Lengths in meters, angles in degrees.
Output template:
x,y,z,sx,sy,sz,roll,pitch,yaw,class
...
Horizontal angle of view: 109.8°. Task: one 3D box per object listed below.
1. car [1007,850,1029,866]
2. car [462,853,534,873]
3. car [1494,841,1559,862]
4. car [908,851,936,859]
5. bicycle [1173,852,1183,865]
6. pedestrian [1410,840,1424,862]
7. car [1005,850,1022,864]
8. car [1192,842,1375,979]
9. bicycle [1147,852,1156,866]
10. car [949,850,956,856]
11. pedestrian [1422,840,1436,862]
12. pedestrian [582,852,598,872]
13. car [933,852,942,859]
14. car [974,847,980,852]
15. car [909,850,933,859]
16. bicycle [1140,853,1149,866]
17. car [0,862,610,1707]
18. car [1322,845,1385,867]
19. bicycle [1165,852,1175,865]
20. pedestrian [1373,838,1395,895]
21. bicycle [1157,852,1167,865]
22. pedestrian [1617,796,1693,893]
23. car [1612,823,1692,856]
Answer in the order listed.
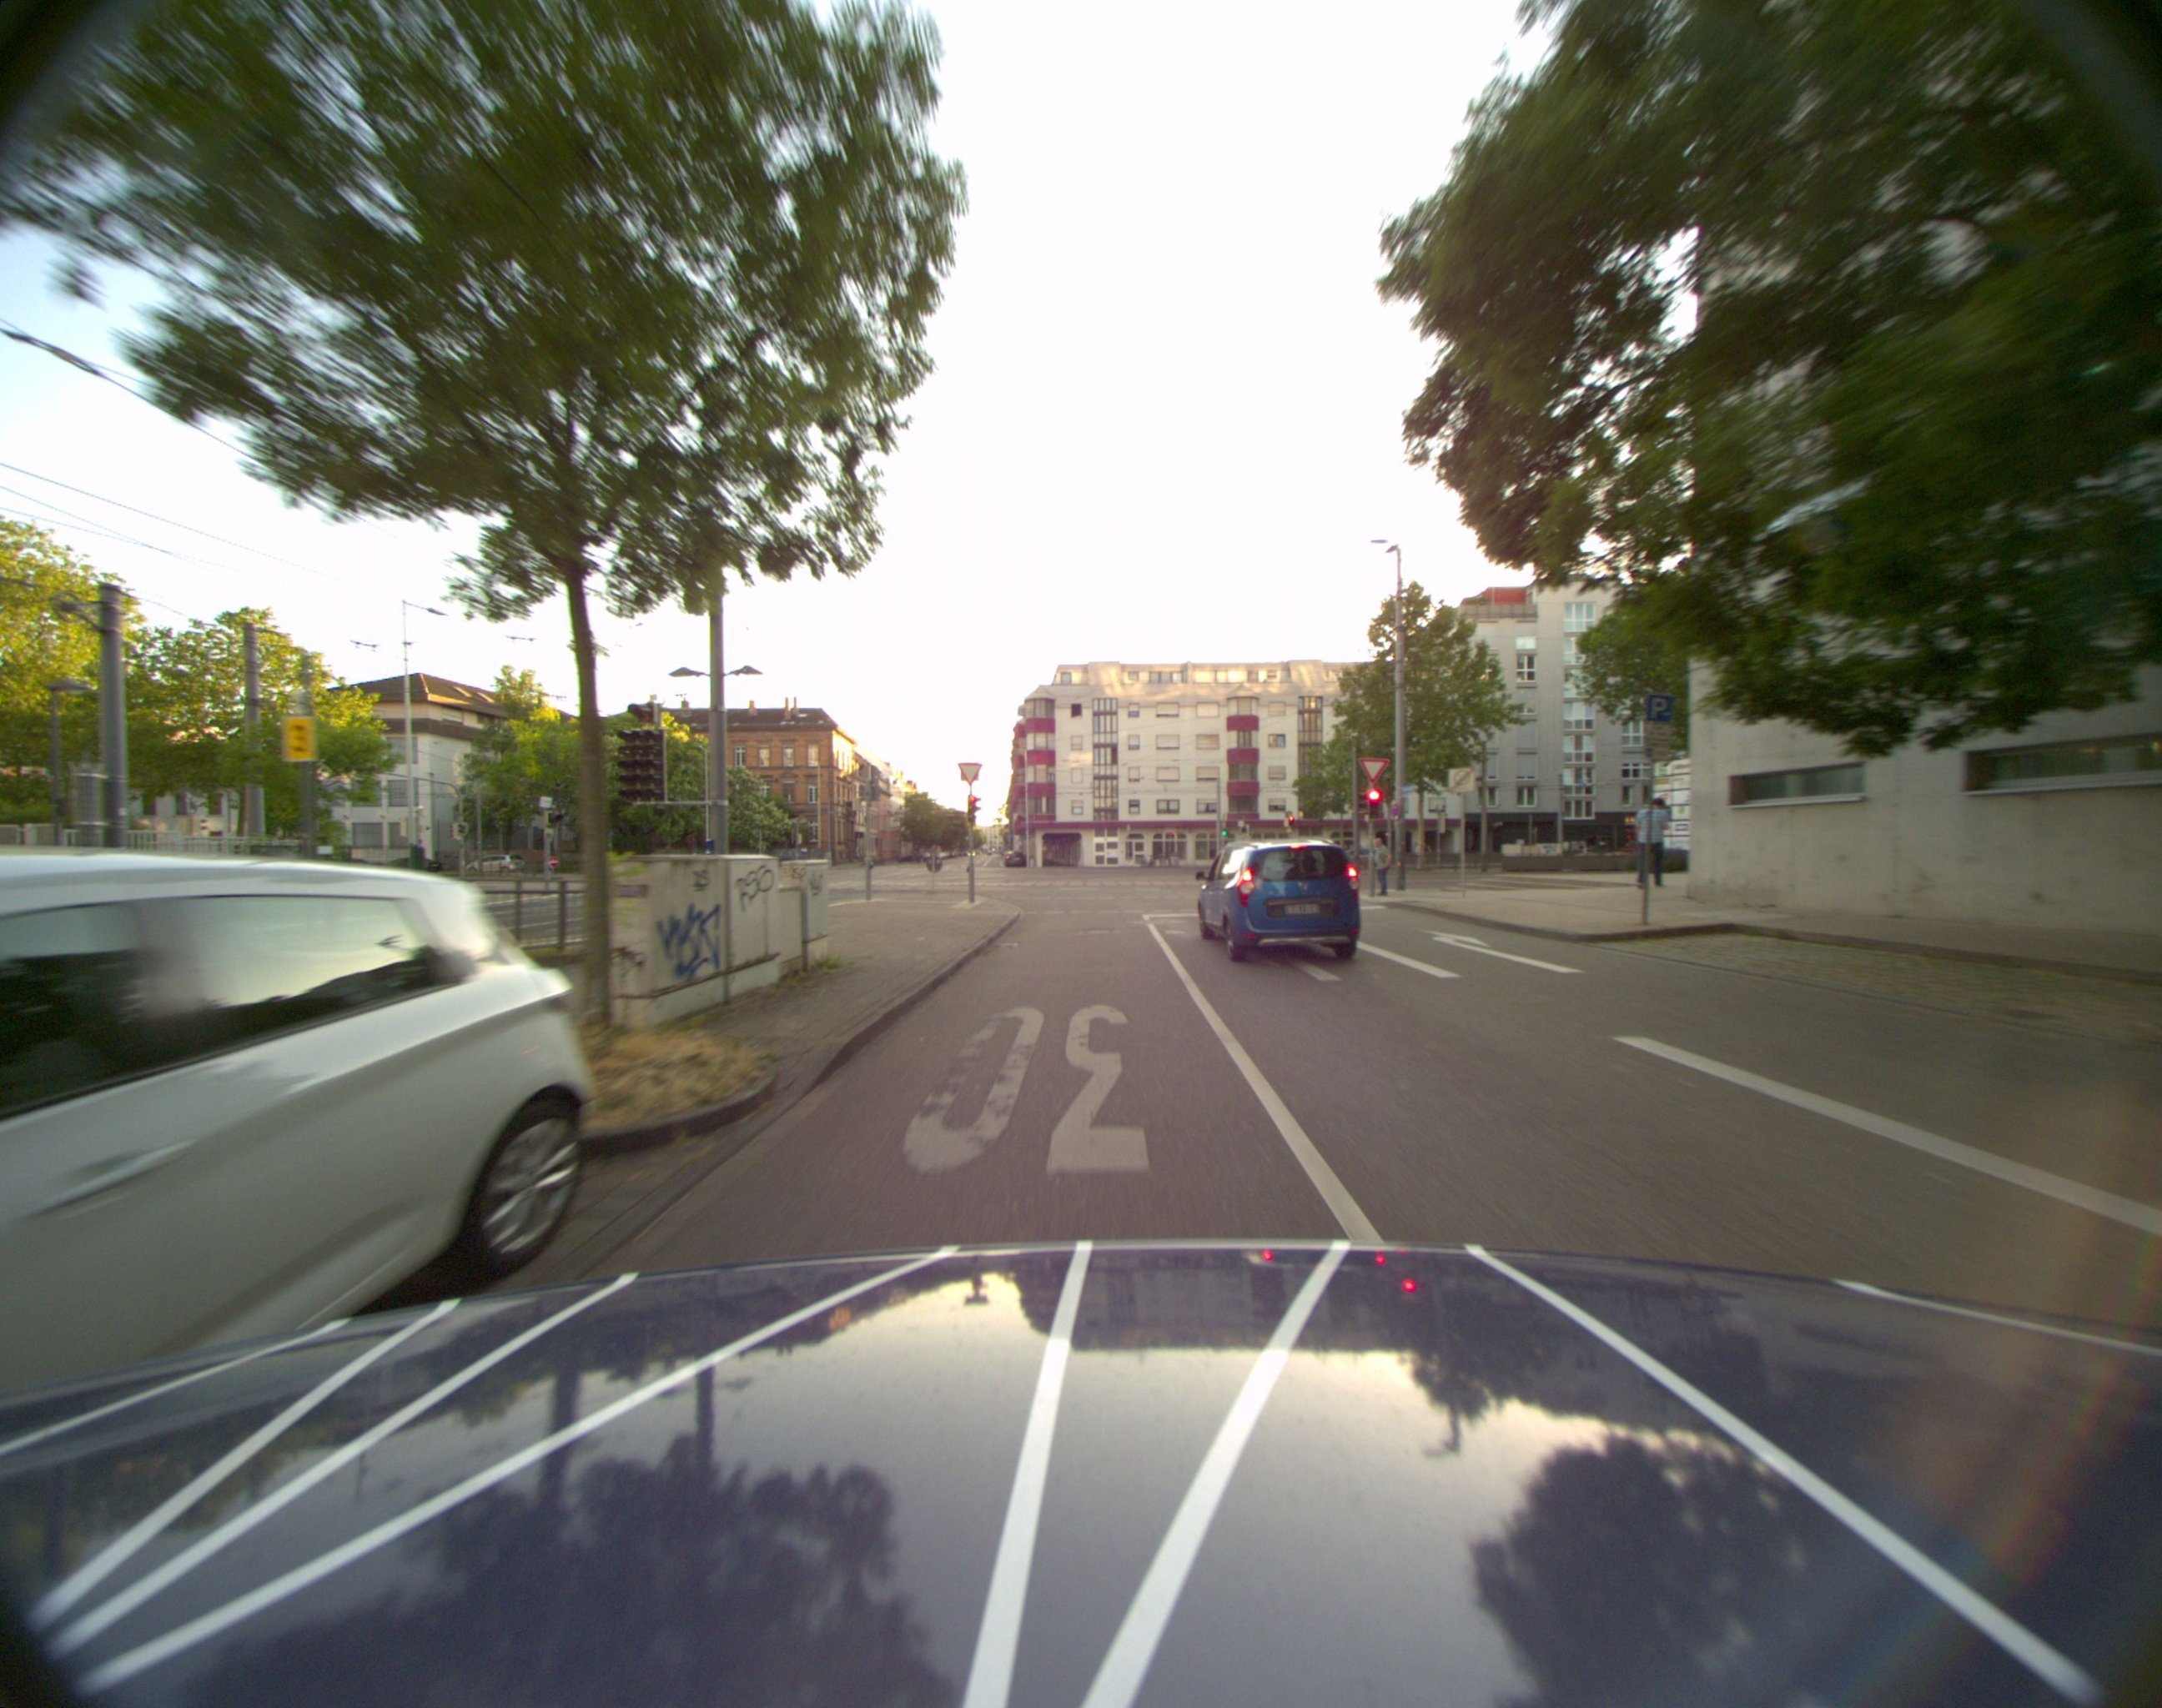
x,y,z,sx,sy,sz,roll,pitch,yaw,class
-5.926,0.321,71.868,2.007,1.448,4.295,-1,0,-3,car
-47.410,0.717,61.865,4.229,1.623,2.000,-1,1,-1,car
34.889,-0.192,59.573,4.098,1.587,1.666,0,1,1,car
-27.579,0.175,131.959,4.706,1.477,1.905,-1,1,-10,car
7.875,0.358,61.439,0.515,1.040,1.902,0,0,-1,bicycle
27.676,-0.232,62.533,0.835,1.796,0.692,-1,1,3,pedestrian
-7.404,0.276,83.771,1.786,1.448,4.295,-1,0,-4,car
2.843,0.700,11.621,1.752,1.668,4.273,-1,0,2,car
5.717,0.400,61.653,0.515,1.040,1.902,0,0,-1,bicycle
-34.020,-0.213,201.220,1.787,1.427,4.293,-1,0,-10,car
28.866,-0.268,63.070,0.835,1.796,0.692,-1,1,3,pedestrian
-36.786,0.579,56.906,0.580,1.517,0.817,-1,1,5,pedestrian
-29.487,0.368,155.895,1.787,1.448,4.293,-1,0,-10,car
-33.081,-1.353,241.101,1.786,1.448,4.294,-1,0,-7,car
-26.084,0.060,123.675,3.775,1.477,1.905,-1,1,-10,car
5.117,0.402,61.624,0.515,1.040,1.902,0,0,-1,bicycle
-2.905,0.871,1.274,1.752,1.574,4.012,3,0,-1,car
20.224,0.123,56.459,4.098,1.587,1.666,0,1,1,car
7.230,0.358,61.686,0.515,1.040,1.902,0,0,-1,bicycle
9.097,0.374,22.796,0.545,1.691,0.709,0,1,29,pedestrian
6.557,0.341,61.723,0.515,1.040,1.902,0,0,-1,bicycle
11.851,-0.186,15.706,0.878,1.872,0.699,-7,1,-12,pedestrian
46.331,-1.169,61.718,5.077,2.526,1.852,-1,1,2,car
